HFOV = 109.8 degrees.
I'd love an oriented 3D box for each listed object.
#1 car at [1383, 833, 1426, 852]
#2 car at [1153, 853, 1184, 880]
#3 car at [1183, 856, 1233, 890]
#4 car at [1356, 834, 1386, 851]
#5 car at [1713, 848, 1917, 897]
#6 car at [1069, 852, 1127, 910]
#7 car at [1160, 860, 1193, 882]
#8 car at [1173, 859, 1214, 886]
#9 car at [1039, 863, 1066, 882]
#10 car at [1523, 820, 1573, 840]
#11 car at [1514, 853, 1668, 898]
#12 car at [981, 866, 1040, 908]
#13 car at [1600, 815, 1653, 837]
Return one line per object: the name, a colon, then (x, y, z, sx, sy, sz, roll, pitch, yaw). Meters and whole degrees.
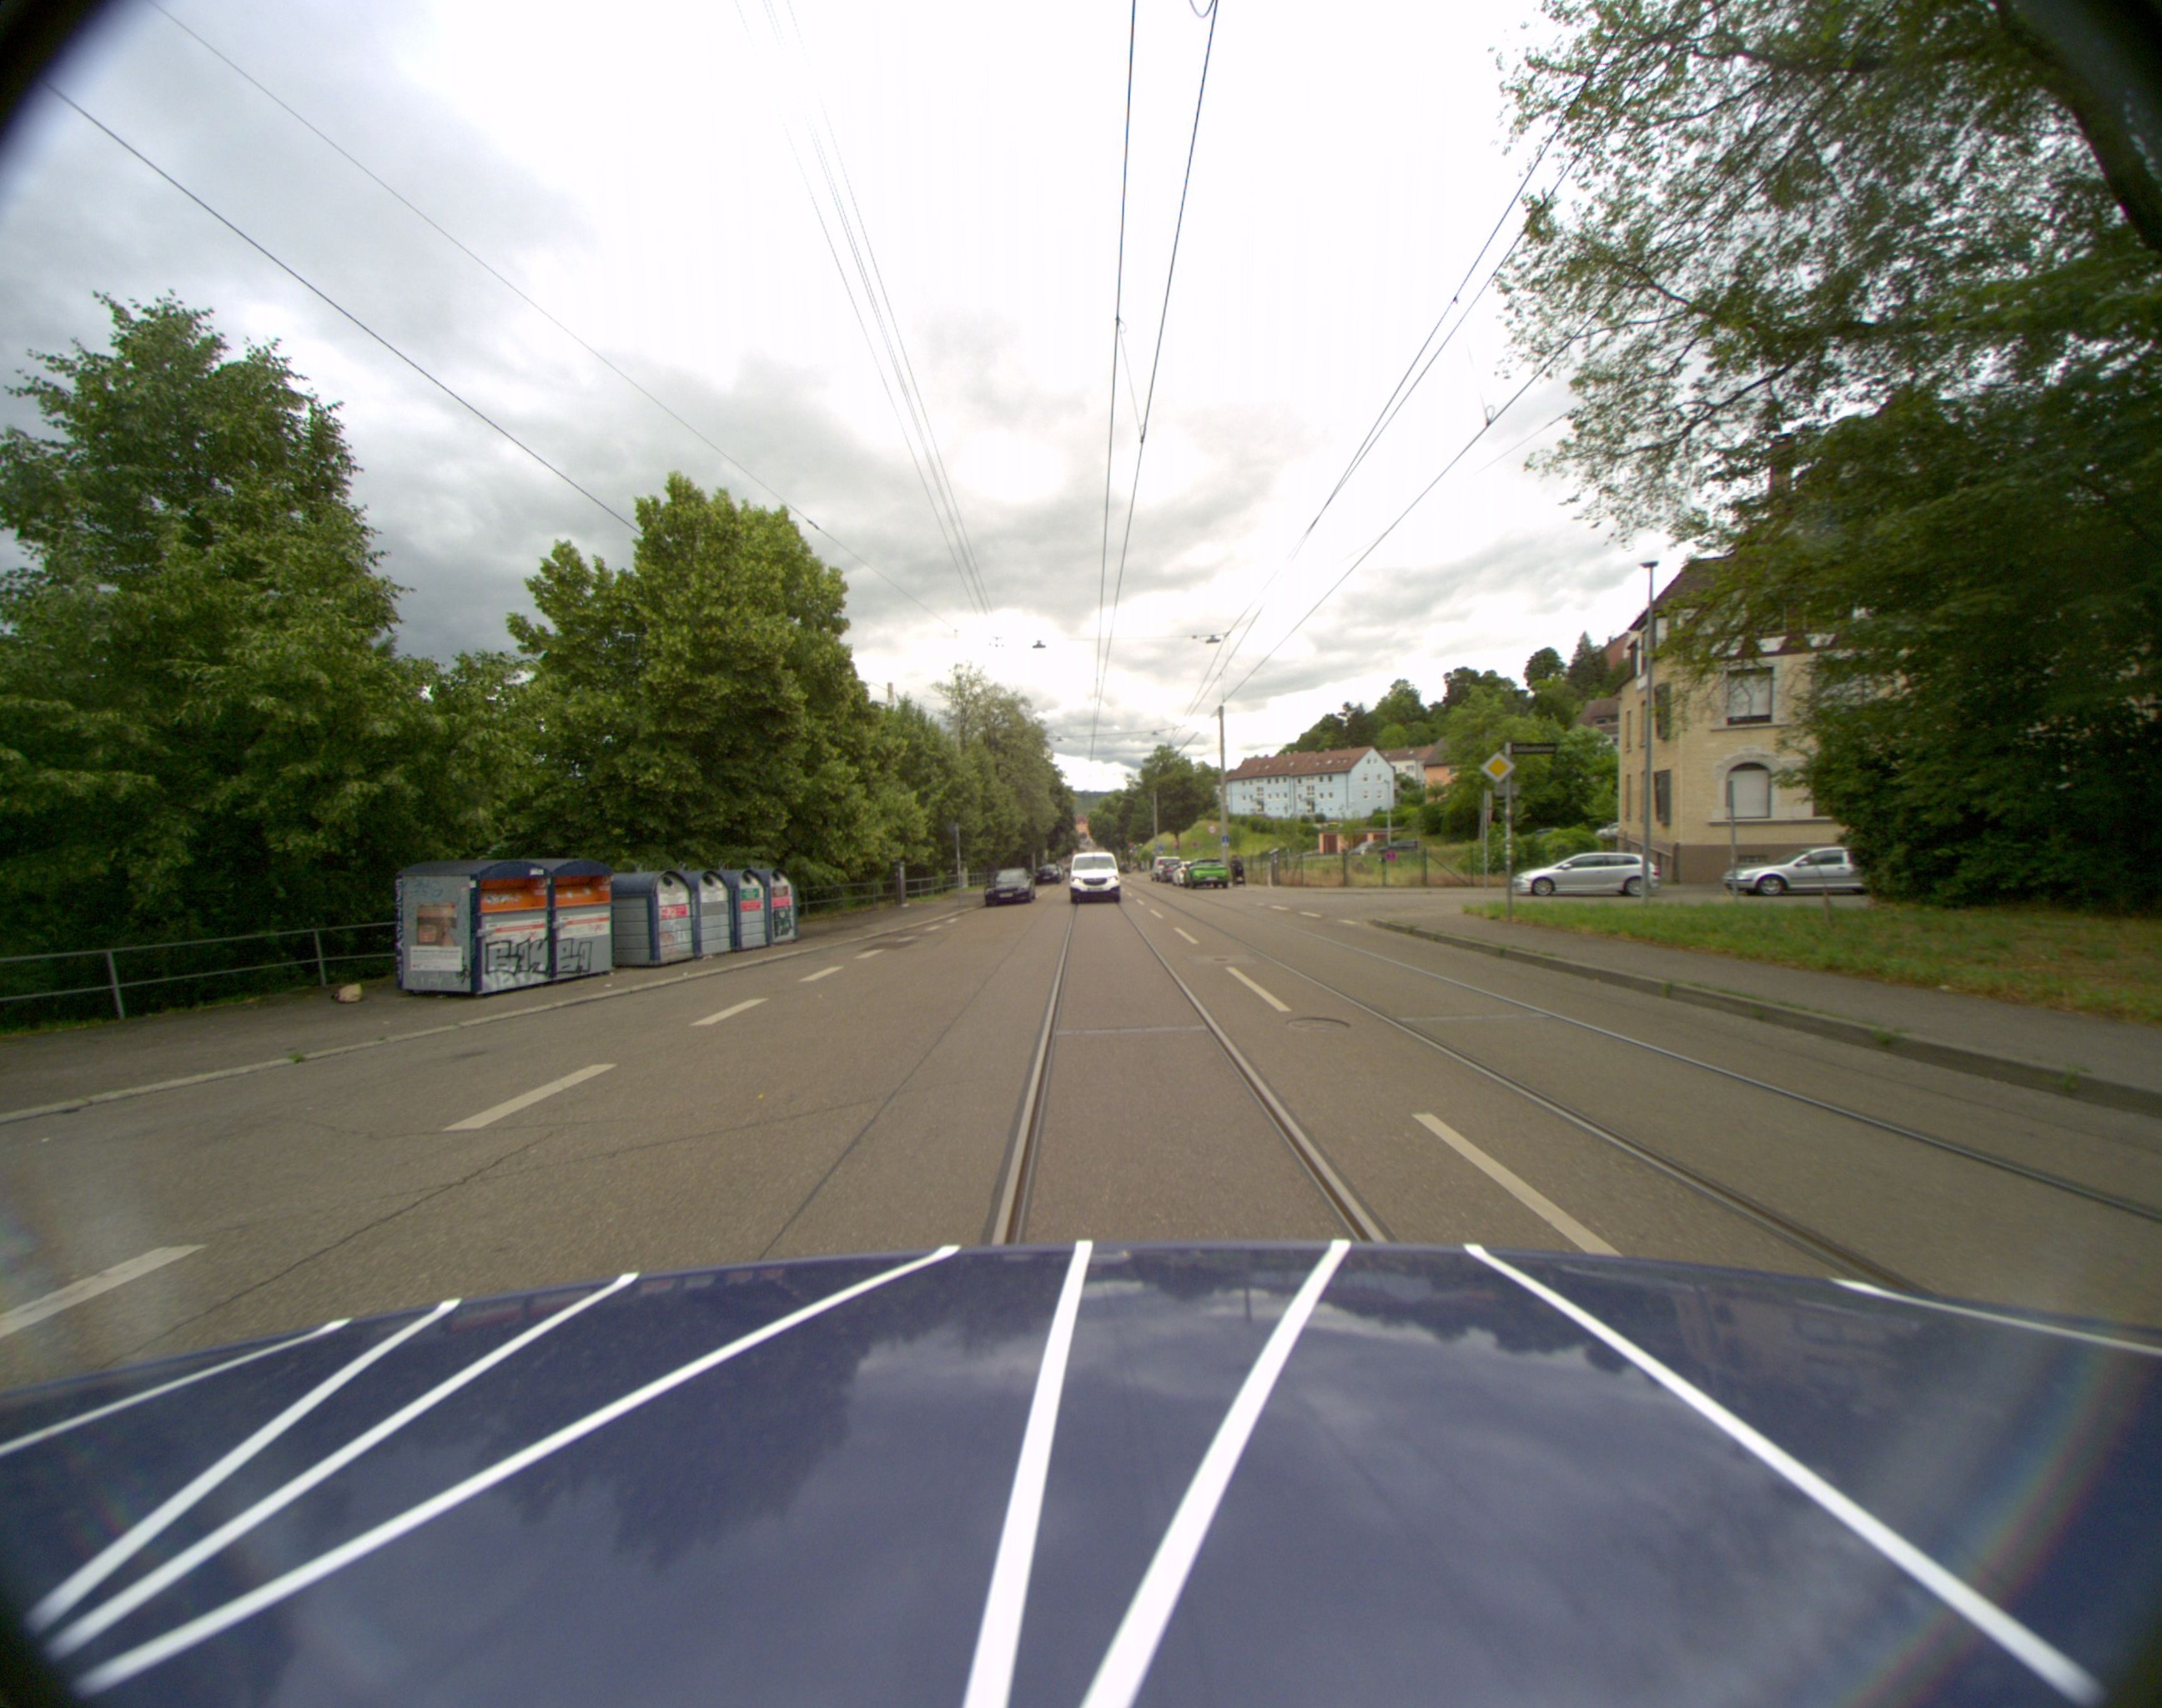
car: (36.544, -1.276, 85.750, 3.989, 1.892, 2.004, -2, 0, 40)
car: (6.624, 0.931, 57.711, 1.901, 1.935, 4.291, 0, 0, 1)
car: (6.304, 0.931, 38.230, 1.856, 1.531, 3.948, -2, -1, 1)
car: (34.154, -1.320, 89.421, 1.994, 1.892, 4.008, -2, 0, 40)
car: (21.702, 0.548, 22.690, 4.039, 1.369, 1.698, -1, 0, 25)
car: (0.520, 0.879, 27.074, 1.760, 1.824, 4.447, -2, 0, -2)
car: (6.563, 1.151, 52.503, 1.856, 1.485, 3.948, 0, 0, 1)
car: (6.446, 1.026, 43.914, 1.856, 1.485, 3.948, 0, 0, 1)
car: (-2.317, 1.506, 61.936, 1.822, 1.344, 3.941, -4, -1, 2)
car: (47.399, -2.418, 77.142, 3.989, 1.892, 2.004, -2, 0, 40)
car: (16.795, 0.700, 25.263, 4.004, 1.369, 1.698, -1, 0, 25)
car: (-2.866, 1.322, 31.625, 1.863, 1.434, 4.388, -5, 0, 1)
car: (52.568, -2.630, 73.246, 3.989, 1.892, 2.004, -2, 0, 40)
